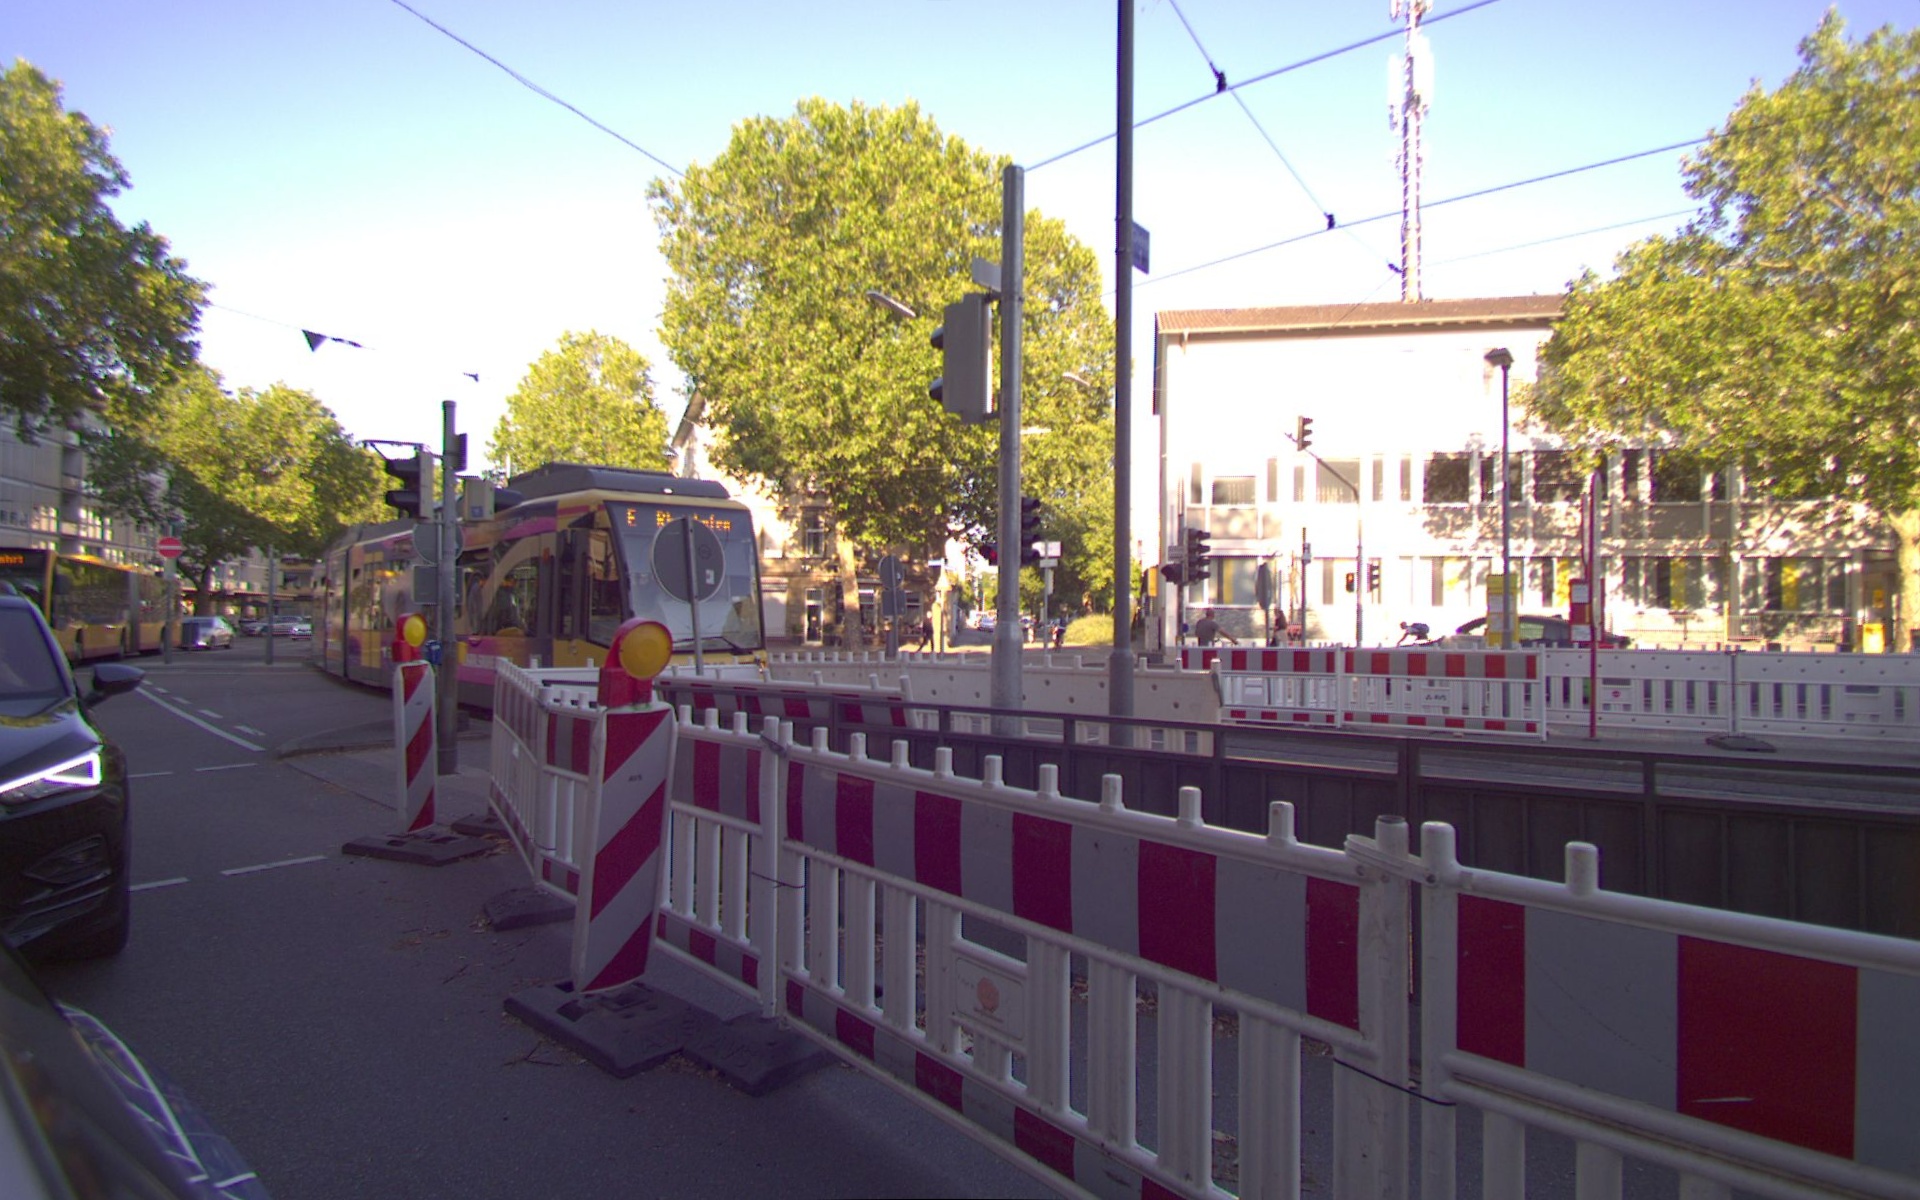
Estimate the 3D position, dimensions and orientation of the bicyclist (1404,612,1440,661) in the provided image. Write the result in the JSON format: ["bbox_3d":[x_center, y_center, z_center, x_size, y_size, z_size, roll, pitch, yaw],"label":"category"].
[{"bbox_3d":[12.538,0.990,27.486,0.808,1.307,0.457,-1,-2,38],"label":"bicyclist"}]

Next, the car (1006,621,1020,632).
[{"bbox_3d":[7.097,3.563,134.685,1.705,1.505,3.994,0,-2,4],"label":"car"}]

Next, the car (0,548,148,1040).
[{"bbox_3d":[-5.157,0.692,4.584,4.300,1.670,1.823,-1,-1,45],"label":"car"}]

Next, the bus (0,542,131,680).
[{"bbox_3d":[-24.549,0.330,26.818,2.708,3.127,9.524,1,-2,-32],"label":"bus"}]

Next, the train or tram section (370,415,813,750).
[{"bbox_3d":[-6.258,-0.106,15.422,2.782,3.514,10.353,1,-1,-41],"label":"train or tram section"}]

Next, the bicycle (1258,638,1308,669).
[{"bbox_3d":[9.882,1.636,31.033,0.456,0.902,1.469,1,-2,-37],"label":"bicycle"}]

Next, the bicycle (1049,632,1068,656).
[{"bbox_3d":[4.253,1.895,43.764,0.405,0.974,1.465,0,-1,-12],"label":"bicycle"}]

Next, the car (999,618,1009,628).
[{"bbox_3d":[8.494,4.445,194.731,1.828,2.031,3.994,0,-1,4],"label":"car"}]

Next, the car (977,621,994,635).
[{"bbox_3d":[2.889,3.157,115.081,1.705,1.505,3.994,0,-1,4],"label":"car"}]

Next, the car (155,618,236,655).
[{"bbox_3d":[-33.594,1.555,44.615,1.880,1.486,4.433,1,-1,-24],"label":"car"}]

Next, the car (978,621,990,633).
[{"bbox_3d":[4.099,4.579,170.071,1.828,2.031,3.994,0,-1,4],"label":"car"}]

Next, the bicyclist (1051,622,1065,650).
[{"bbox_3d":[4.248,1.557,43.774,0.405,1.182,0.664,0,-1,-12],"label":"bicyclist"}]

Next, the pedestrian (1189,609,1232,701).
[{"bbox_3d":[4.930,1.066,19.924,0.588,1.772,0.597,1,-2,-43],"label":"pedestrian"}]

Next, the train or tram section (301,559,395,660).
[{"bbox_3d":[-24.426,0.411,40.301,2.796,3.514,10.368,1,-1,-32],"label":"train or tram section"}]

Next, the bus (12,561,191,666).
[{"bbox_3d":[-29.350,0.504,35.098,2.707,3.127,9.527,1,-2,-28],"label":"bus"}]

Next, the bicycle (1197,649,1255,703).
[{"bbox_3d":[5.131,1.443,19.473,1.558,0.973,0.322,1,-2,-44],"label":"bicycle"}]

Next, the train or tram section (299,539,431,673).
[{"bbox_3d":[-18.807,0.253,31.594,2.832,3.514,10.365,1,-1,-34],"label":"train or tram section"}]

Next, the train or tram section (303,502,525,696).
[{"bbox_3d":[-12.921,0.069,23.304,2.799,3.514,10.359,1,-1,-38],"label":"train or tram section"}]

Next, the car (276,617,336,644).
[{"bbox_3d":[-39.486,1.822,61.208,1.923,1.562,4.771,1,-1,-19],"label":"car"}]

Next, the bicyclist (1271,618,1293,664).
[{"bbox_3d":[9.878,1.243,31.045,0.456,1.407,0.465,1,-2,-37],"label":"bicyclist"}]

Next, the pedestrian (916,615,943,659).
[{"bbox_3d":[-1.255,1.506,41.515,0.801,1.769,0.787,-1,-2,41],"label":"pedestrian"}]

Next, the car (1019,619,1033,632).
[{"bbox_3d":[7.879,3.073,120.407,1.705,1.505,3.994,0,-1,4],"label":"car"}]

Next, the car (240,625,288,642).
[{"bbox_3d":[-50.893,2.427,74.012,1.198,1.226,2.599,0,-1,34],"label":"car"}]

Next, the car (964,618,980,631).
[{"bbox_3d":[1.409,2.877,119.359,1.705,1.505,3.994,0,-1,4],"label":"car"}]

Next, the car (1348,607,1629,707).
[{"bbox_3d":[10.031,0.998,19.355,4.576,1.679,1.878,-1,0,35],"label":"car"}]

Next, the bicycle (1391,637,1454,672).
[{"bbox_3d":[12.546,1.465,27.471,1.464,0.902,0.457,-1,-2,38],"label":"bicycle"}]

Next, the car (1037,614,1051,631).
[{"bbox_3d":[11.282,2.984,135.506,1.828,2.160,3.994,0,-1,4],"label":"car"}]
